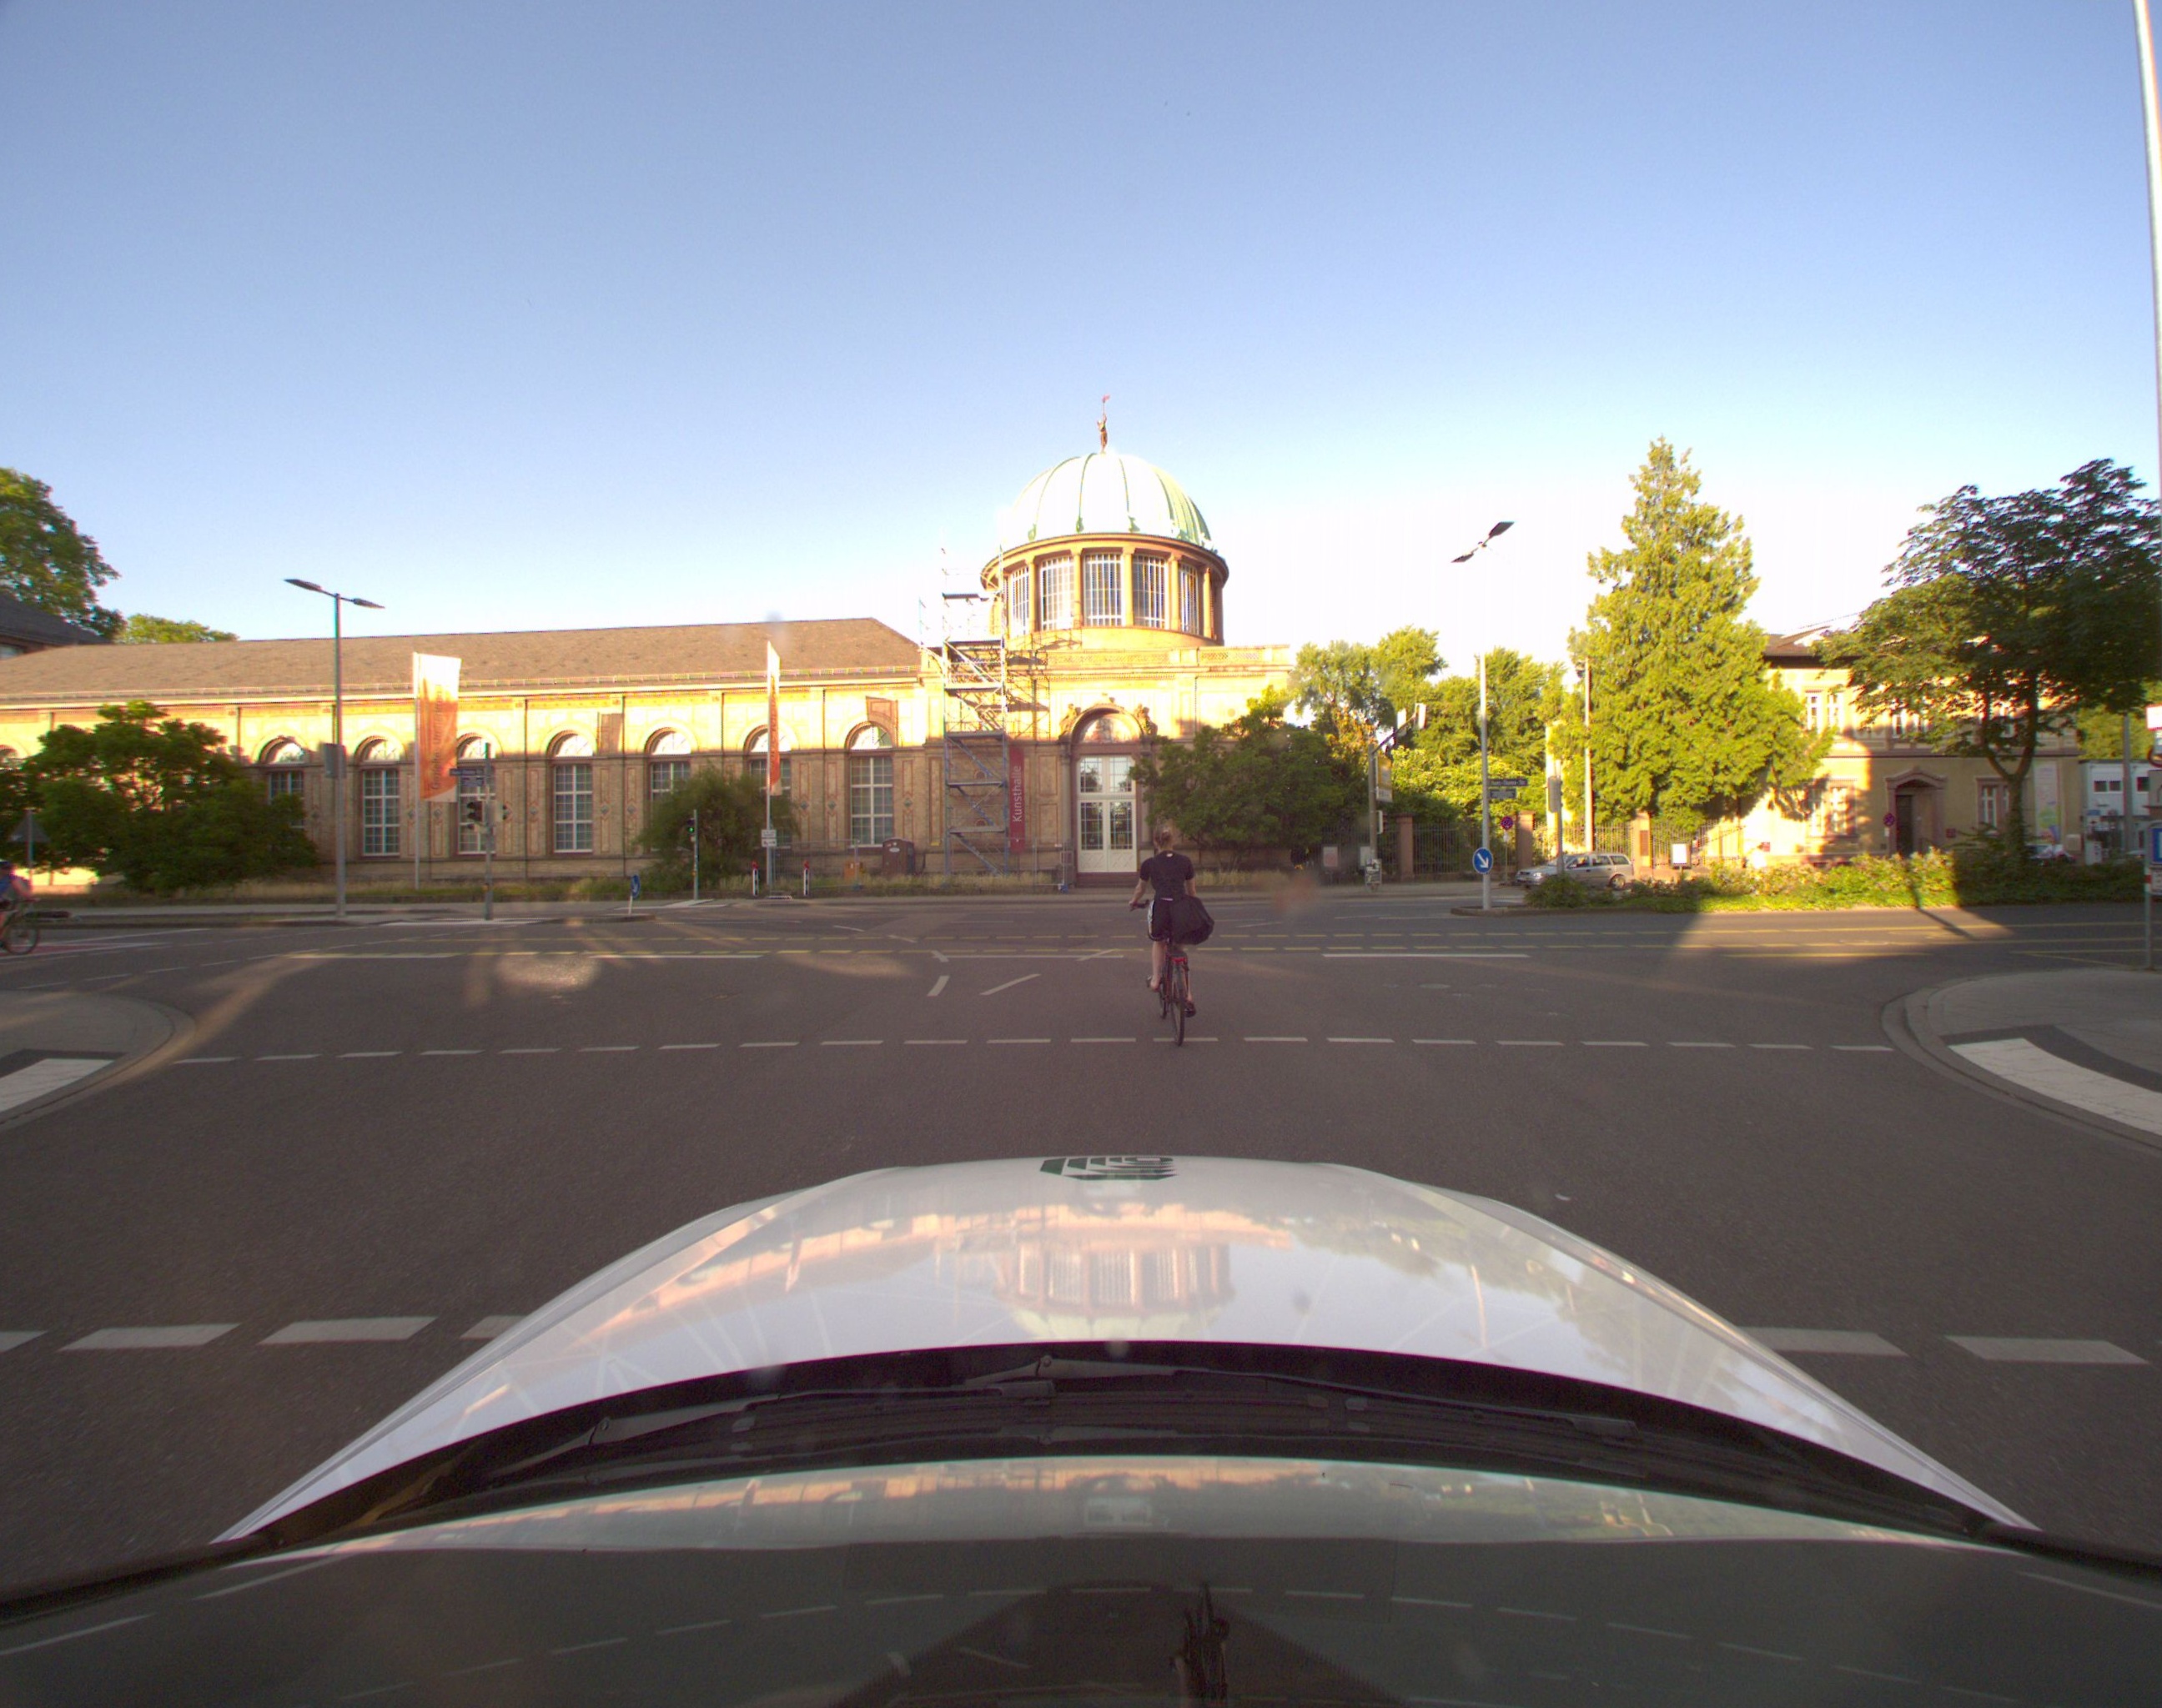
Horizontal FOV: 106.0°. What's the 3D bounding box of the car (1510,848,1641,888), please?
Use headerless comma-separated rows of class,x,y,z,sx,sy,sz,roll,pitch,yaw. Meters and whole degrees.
car,19.290,0.516,31.857,4.176,1.445,1.713,-1,0,-4

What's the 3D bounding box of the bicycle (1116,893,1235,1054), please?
bicycle,0.757,0.947,7.169,0.710,1.156,2.066,-1,-2,-2

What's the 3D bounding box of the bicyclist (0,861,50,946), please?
bicyclist,-20.299,0.918,15.278,1.115,1.544,0.715,-1,0,8

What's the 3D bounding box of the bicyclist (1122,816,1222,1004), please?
bicyclist,0.756,0.463,7.025,0.714,1.503,0.850,-1,-2,-2

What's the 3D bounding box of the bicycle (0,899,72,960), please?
bicycle,-20.225,1.414,15.263,1.983,1.067,0.725,-1,0,8
